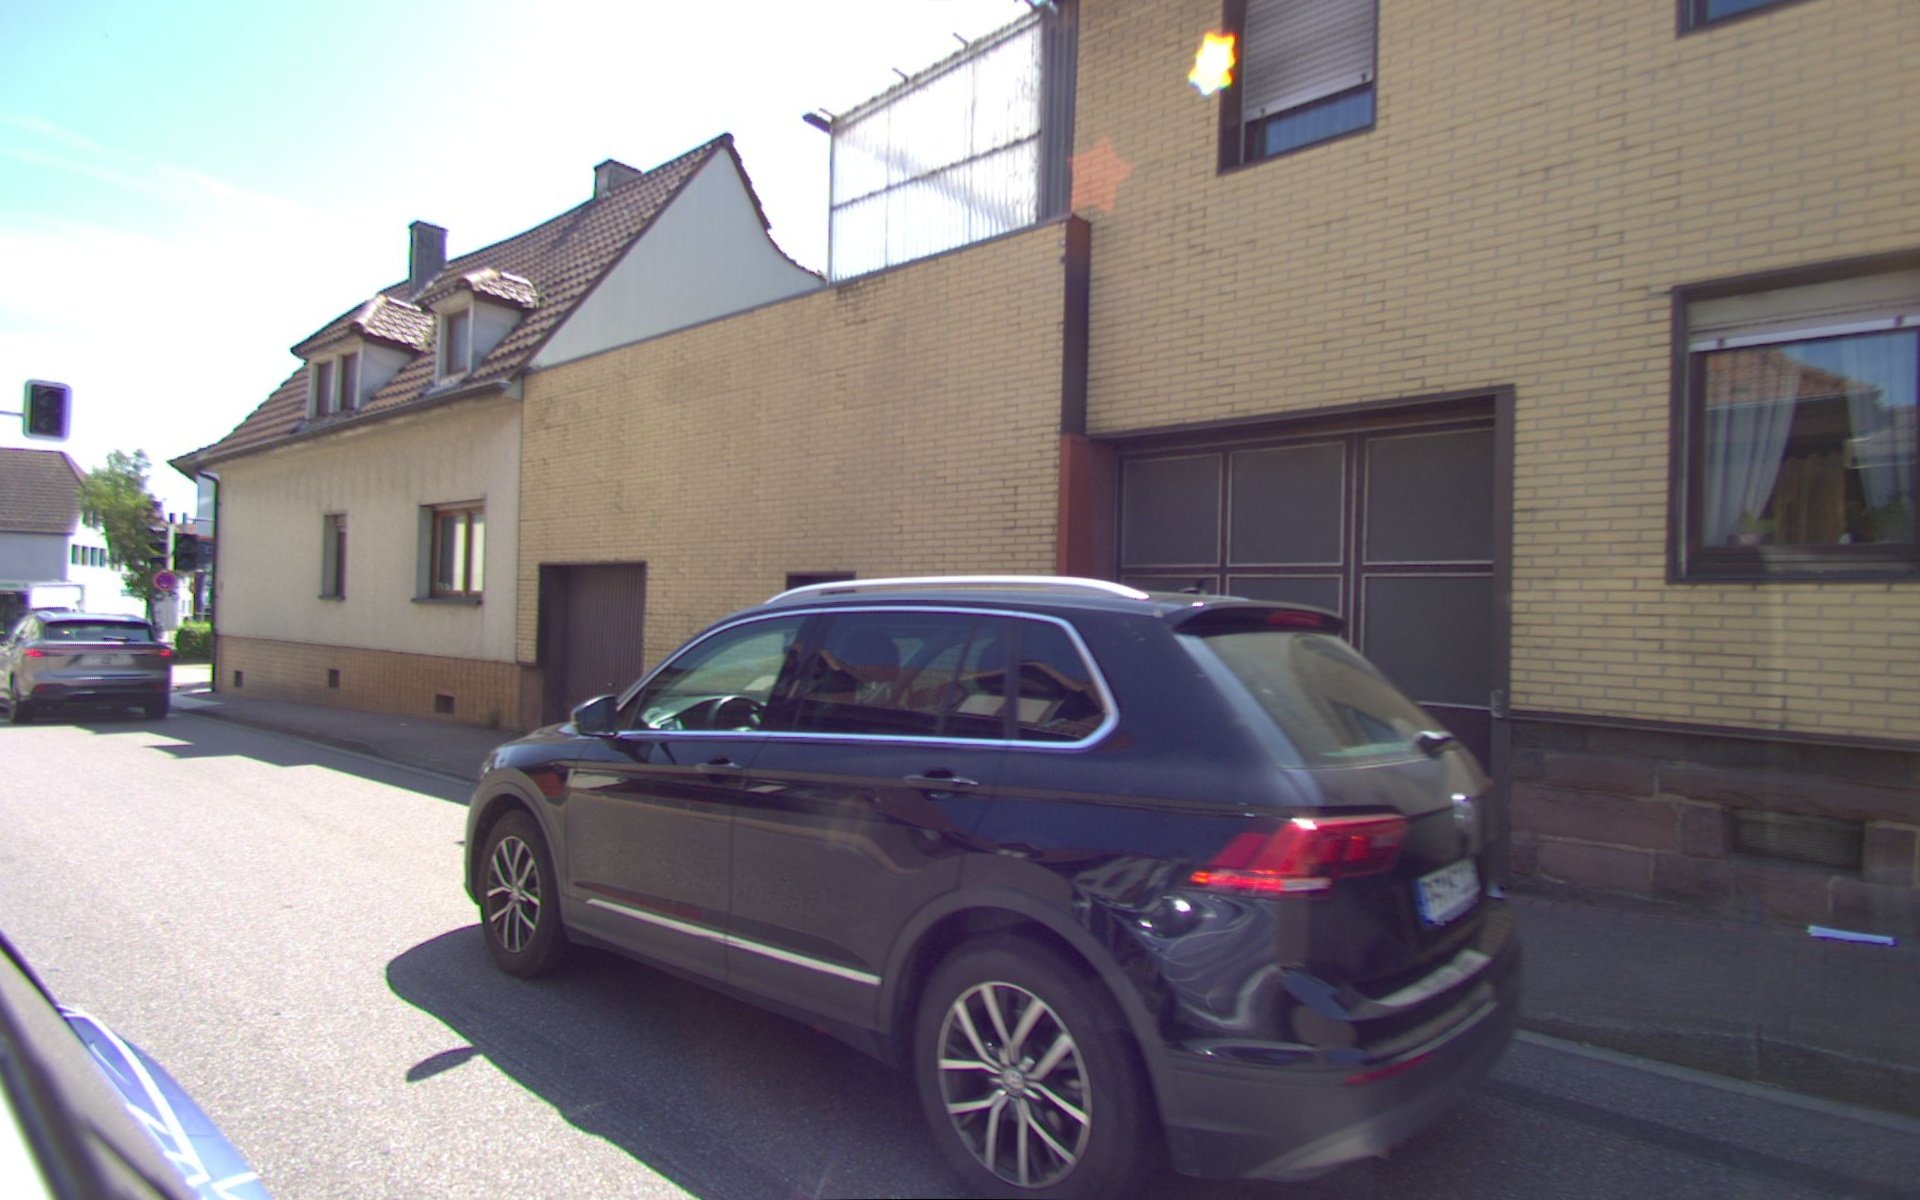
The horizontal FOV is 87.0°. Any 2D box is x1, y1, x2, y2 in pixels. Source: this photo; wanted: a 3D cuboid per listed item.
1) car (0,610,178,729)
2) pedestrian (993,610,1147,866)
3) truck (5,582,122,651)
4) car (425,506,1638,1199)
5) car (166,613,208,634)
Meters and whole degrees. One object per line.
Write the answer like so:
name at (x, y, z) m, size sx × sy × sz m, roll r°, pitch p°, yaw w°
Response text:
car at (-14.046, 1.024, 16.022) m, size 4.258 × 1.634 × 1.810 m, roll -1°, pitch -3°, yaw 41°
pedestrian at (0.731, 0.862, 6.752) m, size 0.755 × 1.576 × 0.654 m, roll -2°, pitch -1°, yaw 42°
truck at (-50.896, 0.954, 57.764) m, size 2.819 × 3.539 × 8.347 m, roll 3°, pitch -2°, yaw -27°
car at (-0.163, 0.726, 3.817) m, size 4.335 × 1.621 × 1.792 m, roll -1°, pitch -4°, yaw 41°
car at (-62.926, 1.918, 82.448) m, size 1.965 × 1.630 × 4.013 m, roll 0°, pitch 0°, yaw -26°
